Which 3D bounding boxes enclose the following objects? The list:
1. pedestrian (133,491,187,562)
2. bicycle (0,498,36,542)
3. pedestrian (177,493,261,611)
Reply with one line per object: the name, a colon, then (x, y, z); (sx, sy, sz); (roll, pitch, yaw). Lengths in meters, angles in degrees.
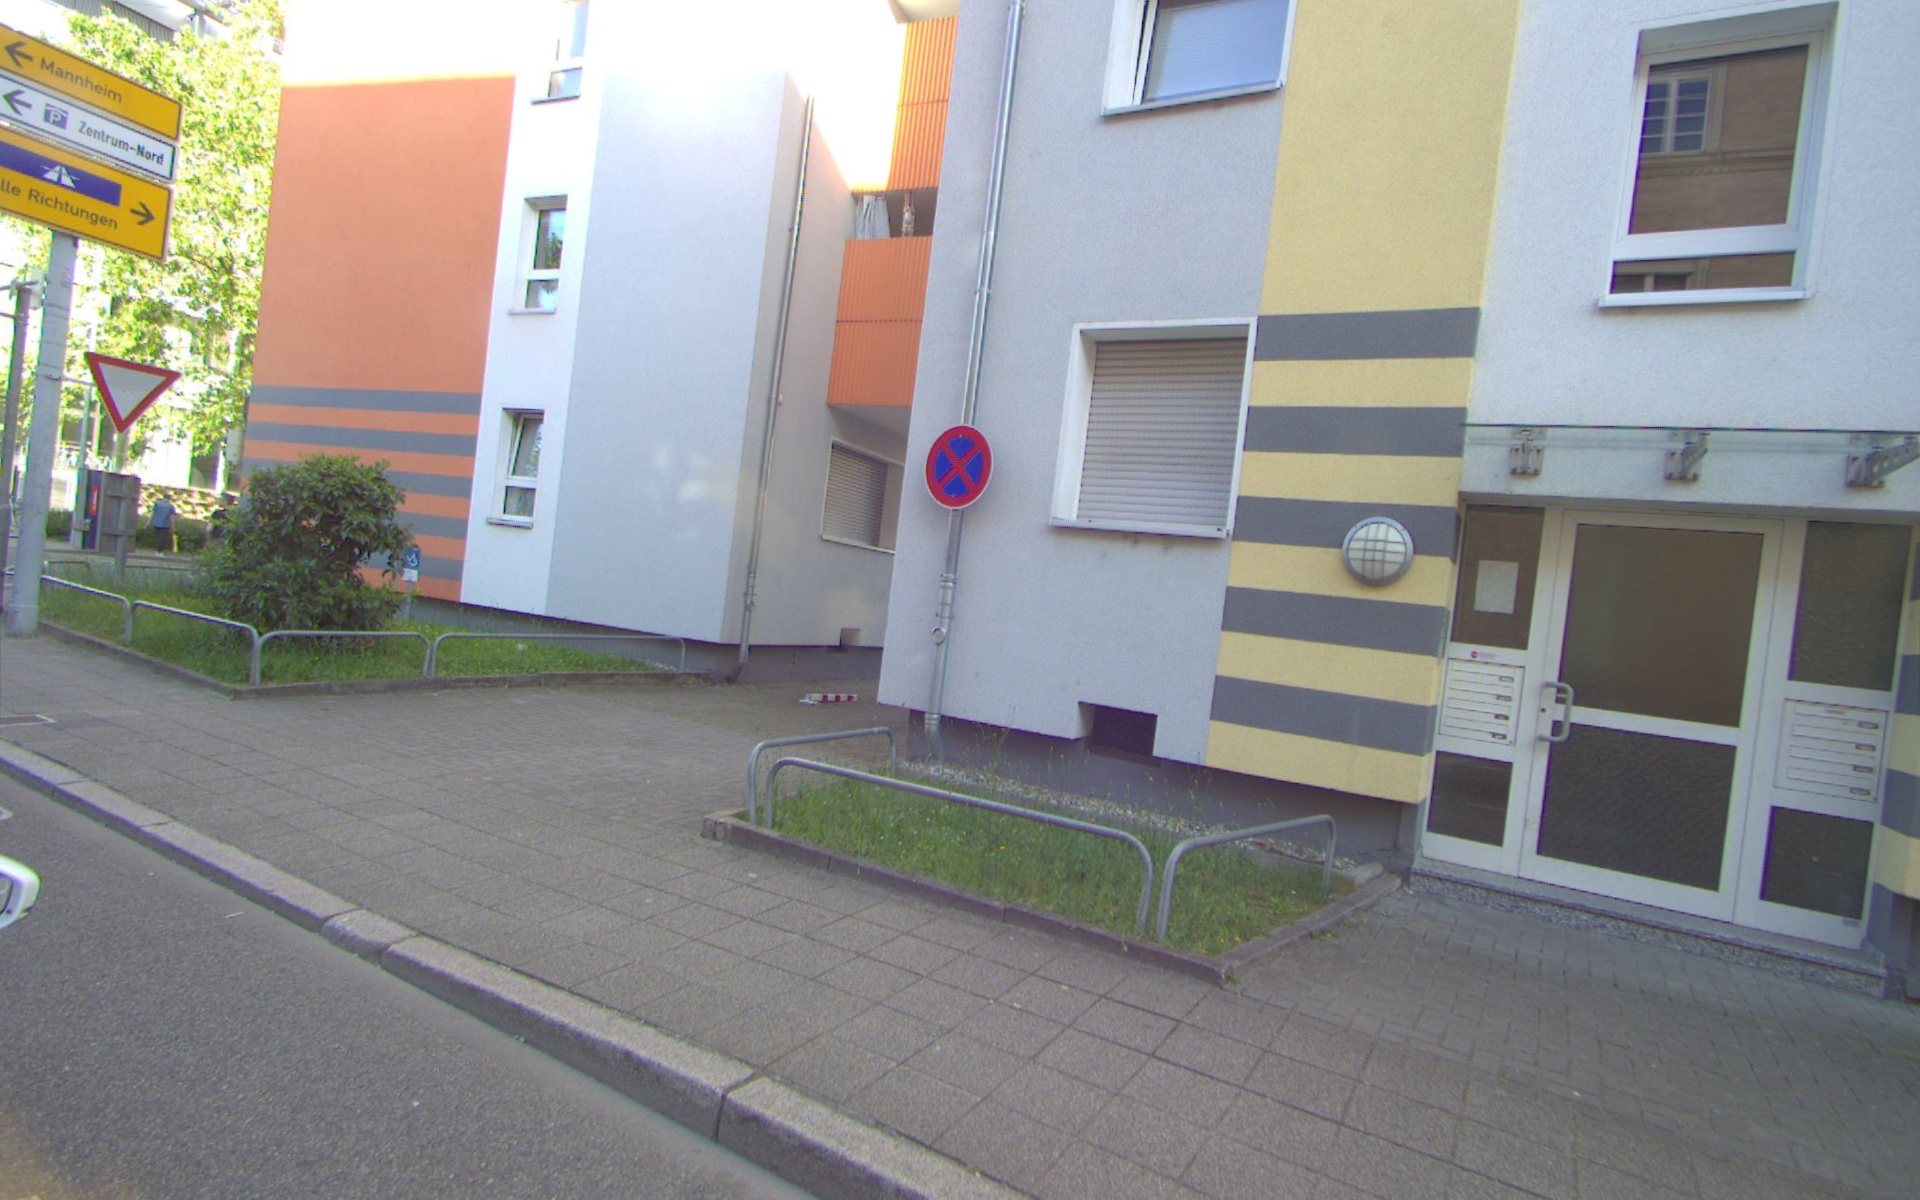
pedestrian: (-23.127, -2.120, 29.099); (0.697, 1.861, 0.836); (8, -1, 28)
bicycle: (-26.270, -2.238, 27.345); (1.658, 1.063, 0.508); (9, 2, -3)
pedestrian: (-12.614, -0.818, 17.137); (0.823, 1.861, 0.708); (8, -1, 32)
